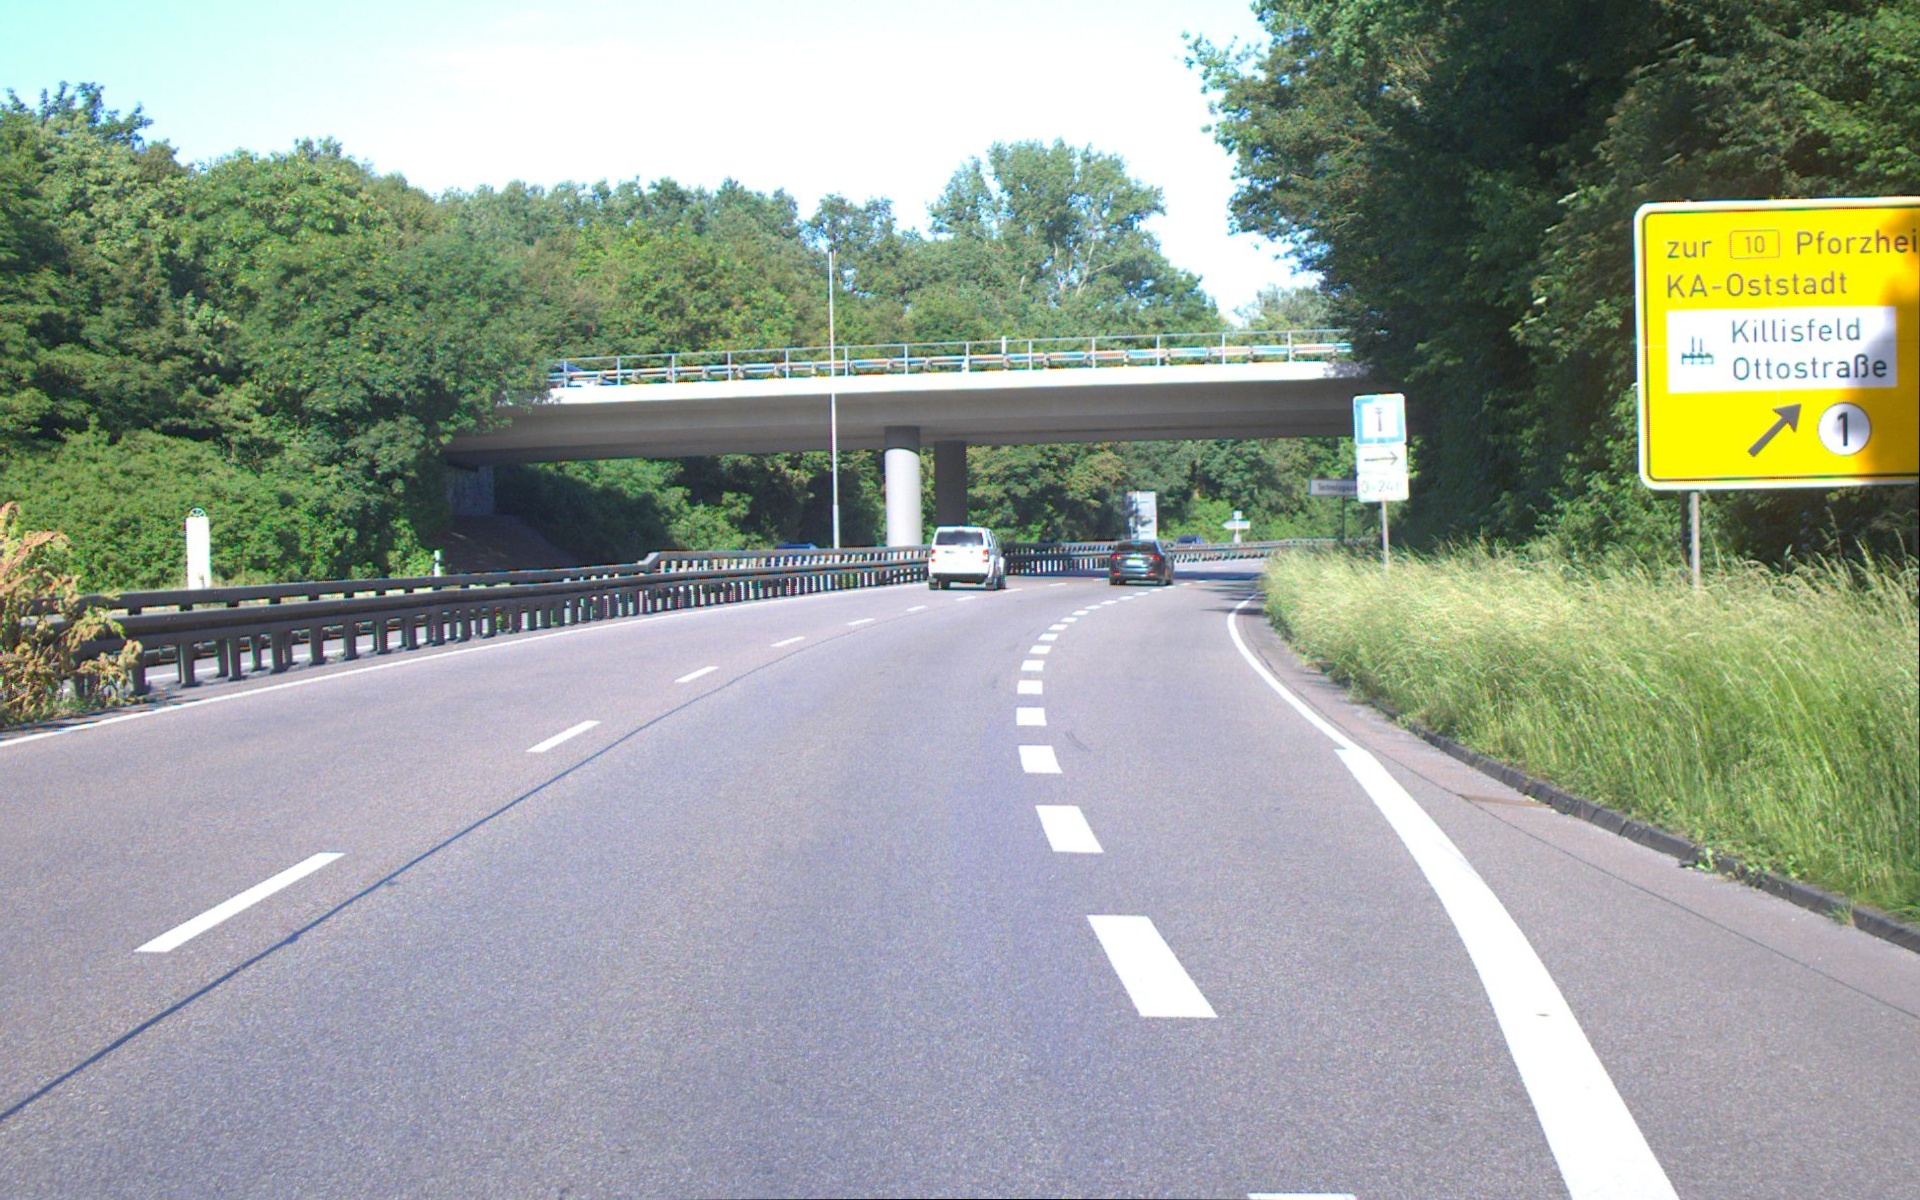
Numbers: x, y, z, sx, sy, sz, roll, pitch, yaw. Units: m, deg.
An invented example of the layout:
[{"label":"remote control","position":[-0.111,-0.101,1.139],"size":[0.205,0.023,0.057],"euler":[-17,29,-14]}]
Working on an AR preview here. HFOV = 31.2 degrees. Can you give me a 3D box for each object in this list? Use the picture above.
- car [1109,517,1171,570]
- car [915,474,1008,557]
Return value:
[{"label":"car","position":[5.788,-1.831,110.212],"size":[1.739,1.656,3.945],"euler":[0,1,6]},{"label":"car","position":[0.066,-2.366,96.481],"size":[1.994,2.269,3.999],"euler":[0,1,9]}]
